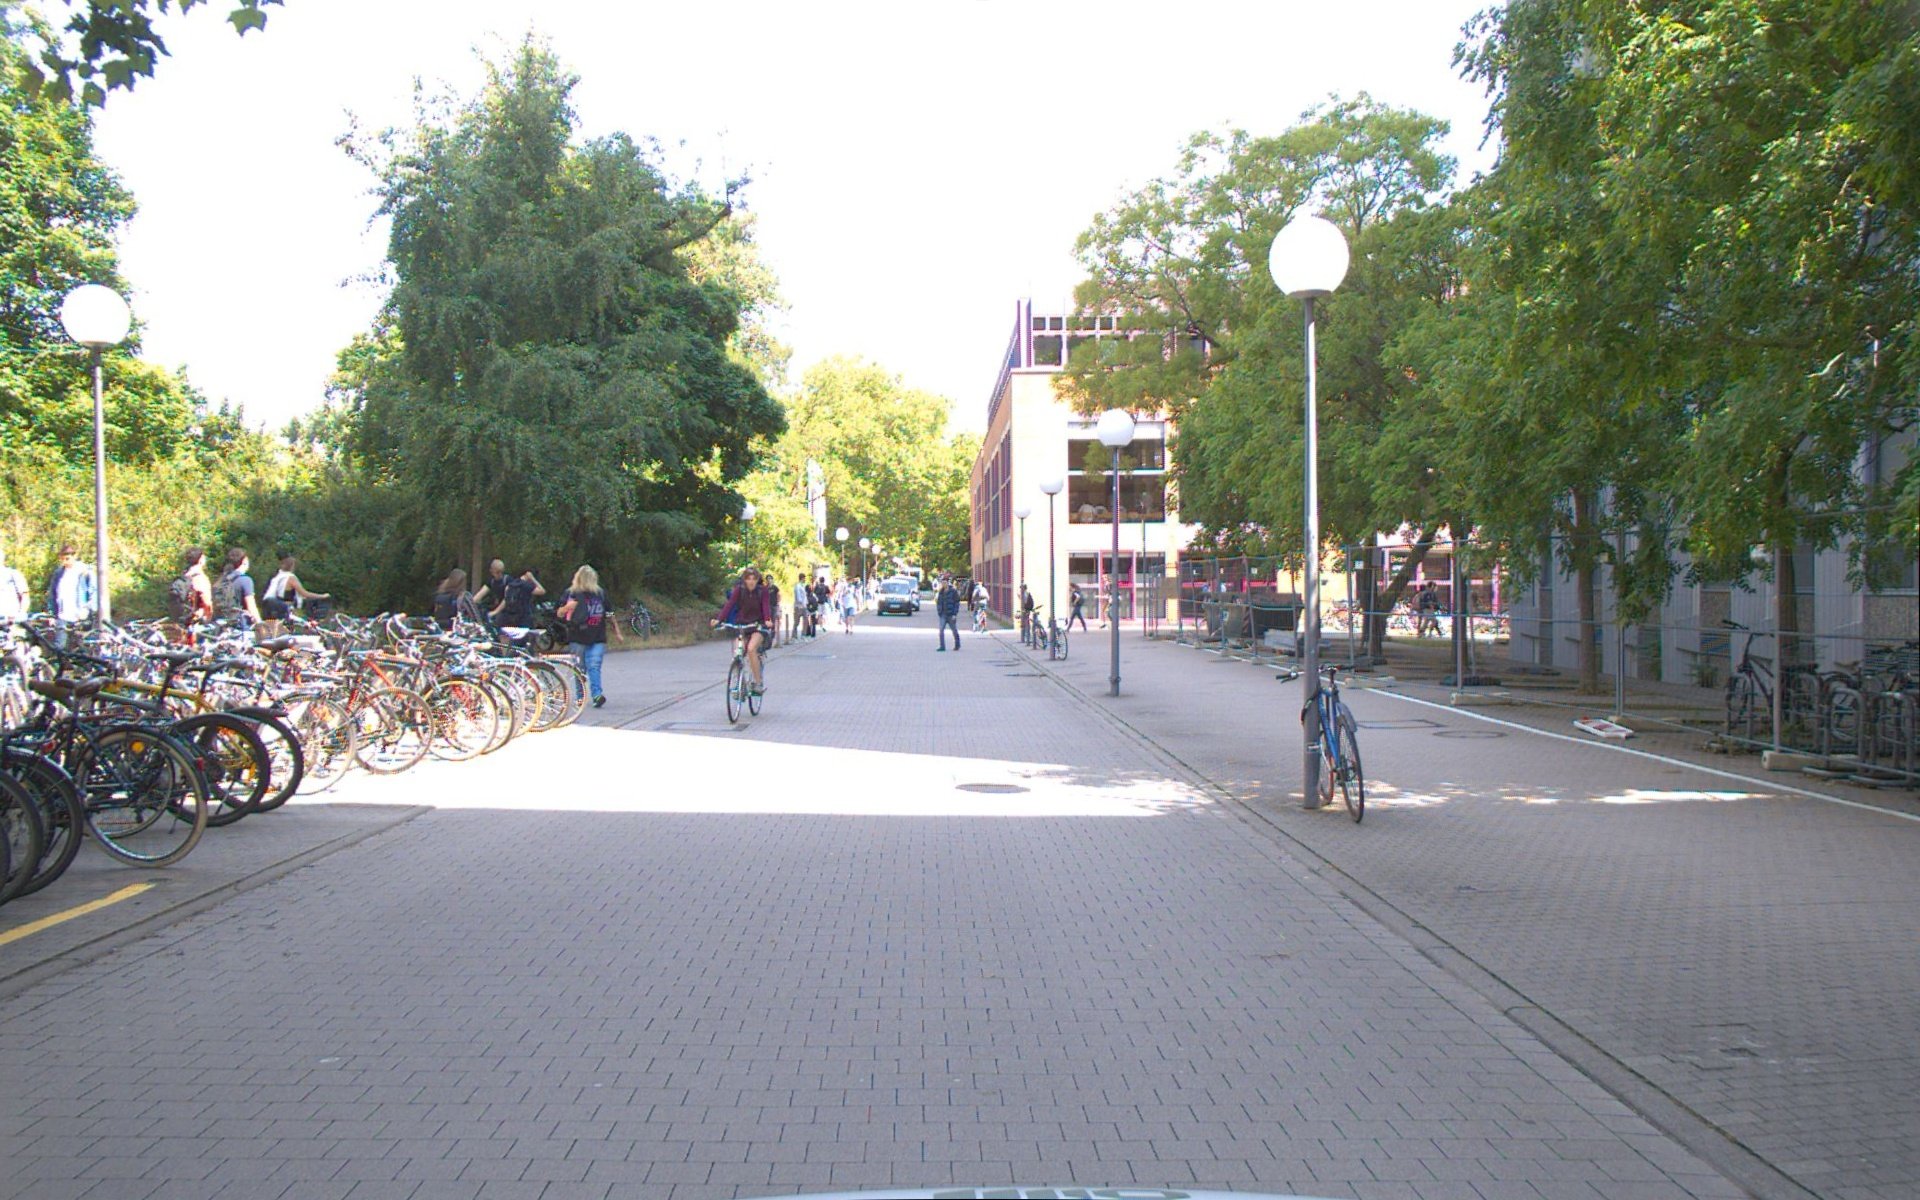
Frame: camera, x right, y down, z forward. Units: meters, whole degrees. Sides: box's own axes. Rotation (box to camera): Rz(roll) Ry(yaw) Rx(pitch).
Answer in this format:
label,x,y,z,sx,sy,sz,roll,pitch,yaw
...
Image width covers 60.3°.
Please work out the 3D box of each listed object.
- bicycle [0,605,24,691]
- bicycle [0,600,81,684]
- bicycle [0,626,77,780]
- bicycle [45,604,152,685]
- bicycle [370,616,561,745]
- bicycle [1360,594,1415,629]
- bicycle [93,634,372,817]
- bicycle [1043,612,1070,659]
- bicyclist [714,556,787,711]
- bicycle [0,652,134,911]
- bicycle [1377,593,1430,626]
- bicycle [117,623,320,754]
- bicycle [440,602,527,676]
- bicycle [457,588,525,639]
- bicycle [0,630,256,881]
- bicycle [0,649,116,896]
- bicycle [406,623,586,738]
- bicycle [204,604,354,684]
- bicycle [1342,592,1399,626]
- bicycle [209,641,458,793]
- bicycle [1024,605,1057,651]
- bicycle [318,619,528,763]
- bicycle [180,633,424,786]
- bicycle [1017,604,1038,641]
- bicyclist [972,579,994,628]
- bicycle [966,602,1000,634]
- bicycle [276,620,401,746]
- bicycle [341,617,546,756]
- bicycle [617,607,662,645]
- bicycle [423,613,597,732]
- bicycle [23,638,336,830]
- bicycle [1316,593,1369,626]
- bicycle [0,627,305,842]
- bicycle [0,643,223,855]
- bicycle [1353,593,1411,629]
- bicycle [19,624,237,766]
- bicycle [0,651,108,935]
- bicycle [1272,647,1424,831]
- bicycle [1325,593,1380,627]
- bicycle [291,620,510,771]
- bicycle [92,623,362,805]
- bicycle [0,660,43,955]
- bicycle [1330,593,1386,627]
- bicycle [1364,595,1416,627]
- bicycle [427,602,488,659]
label,x,y,z,sx,sy,sz,roll,pitch,yaw
bicycle,-13.374,0.628,22.273,1.738,1.129,0.473,0,0,28
bicycle,-13.051,0.569,23.096,1.738,1.129,0.473,0,0,28
bicycle,-7.526,0.764,12.832,1.664,1.102,0.472,0,0,34
bicycle,-12.525,0.628,24.032,1.738,1.129,0.473,0,0,28
bicycle,-4.669,0.754,15.681,1.662,1.189,0.473,0,0,-8
bicycle,13.886,0.371,53.764,1.659,1.129,0.474,1,0,2
bicycle,-4.846,0.805,11.060,1.675,1.127,0.469,0,0,-29
bicycle,2.071,0.755,35.644,0.387,0.952,1.731,-2,1,-2
bicyclist,-2.415,0.380,19.139,0.756,1.746,0.910,1,-1,-4
bicycle,-4.694,0.807,7.448,1.665,1.127,0.472,0,0,-14
bicycle,15.785,0.346,58.841,1.772,1.129,0.473,1,0,-7
bicycle,-6.536,0.763,14.596,1.658,1.102,0.474,0,0,11
bicycle,-7.635,0.606,26.597,0.462,1.129,1.846,0,0,15
bicycle,-10.112,0.286,35.714,0.463,1.065,1.700,2,0,20
bicycle,-4.542,0.772,8.425,1.663,1.219,0.535,0,0,-10
bicycle,-4.967,0.807,7.814,1.664,1.127,0.472,0,0,-13
bicycle,-4.594,0.791,16.445,1.662,1.110,0.473,0,0,-8
bicycle,-9.325,0.598,22.673,1.879,1.065,0.537,1,0,-26
bicycle,13.775,0.299,55.546,1.773,1.129,0.523,1,0,-2
bicycle,-4.647,0.837,12.330,1.681,1.036,0.468,0,0,-37
bicycle,2.005,0.681,41.562,0.694,1.112,1.748,0,0,-2
bicycle,-4.555,0.760,14.122,1.665,1.189,0.472,0,0,-14
bicycle,-5.020,0.804,12.672,1.681,1.080,0.468,0,0,-37
bicycle,1.911,0.634,46.954,0.441,0.978,1.739,-3,1,-2
bicyclist,0.810,0.122,58.903,0.578,1.746,0.661,0,0,-21
bicycle,0.812,0.625,58.887,0.578,1.102,1.896,0,1,-21
bicycle,-5.879,0.755,15.731,0.496,1.102,1.700,0,0,2
bicycle,-4.627,0.755,14.830,1.737,1.189,0.474,0,0,12
bicycle,-8.103,0.667,41.826,0.412,0.926,1.741,0,-1,14
bicycle,-4.581,0.734,16.914,1.663,1.179,0.473,0,0,-10
bicycle,-4.831,0.809,10.328,1.664,1.127,0.581,0,0,-13
bicycle,13.699,0.346,59.238,1.773,1.129,0.523,1,0,-3
bicycle,-4.811,0.773,9.800,1.664,1.208,0.472,0,0,-13
bicycle,-5.081,0.815,9.240,1.664,1.127,0.564,0,0,-13
bicycle,13.991,0.361,54.889,1.771,1.129,0.524,1,0,2
bicycle,-6.796,0.757,13.516,1.658,1.102,0.474,0,0,12
bicycle,-4.584,0.809,6.994,1.665,1.165,0.472,0,0,-14
bicycle,2.572,0.885,11.144,0.526,1.057,1.858,-1,0,-2
bicycle,13.622,0.349,57.367,1.773,1.129,0.523,1,0,-4
bicycle,-4.570,0.764,13.579,1.668,1.189,0.472,0,0,-19
bicycle,-5.065,0.758,11.466,1.675,1.177,0.469,0,0,-29
bicycle,-4.589,0.812,6.469,1.664,1.127,0.495,0,0,-12
bicycle,13.566,0.327,56.398,1.771,1.129,0.524,1,0,2
bicycle,15.631,0.400,60.075,1.772,1.129,0.473,1,0,-7
bicycle,-9.715,0.572,31.937,0.470,1.065,1.674,0,0,-42
